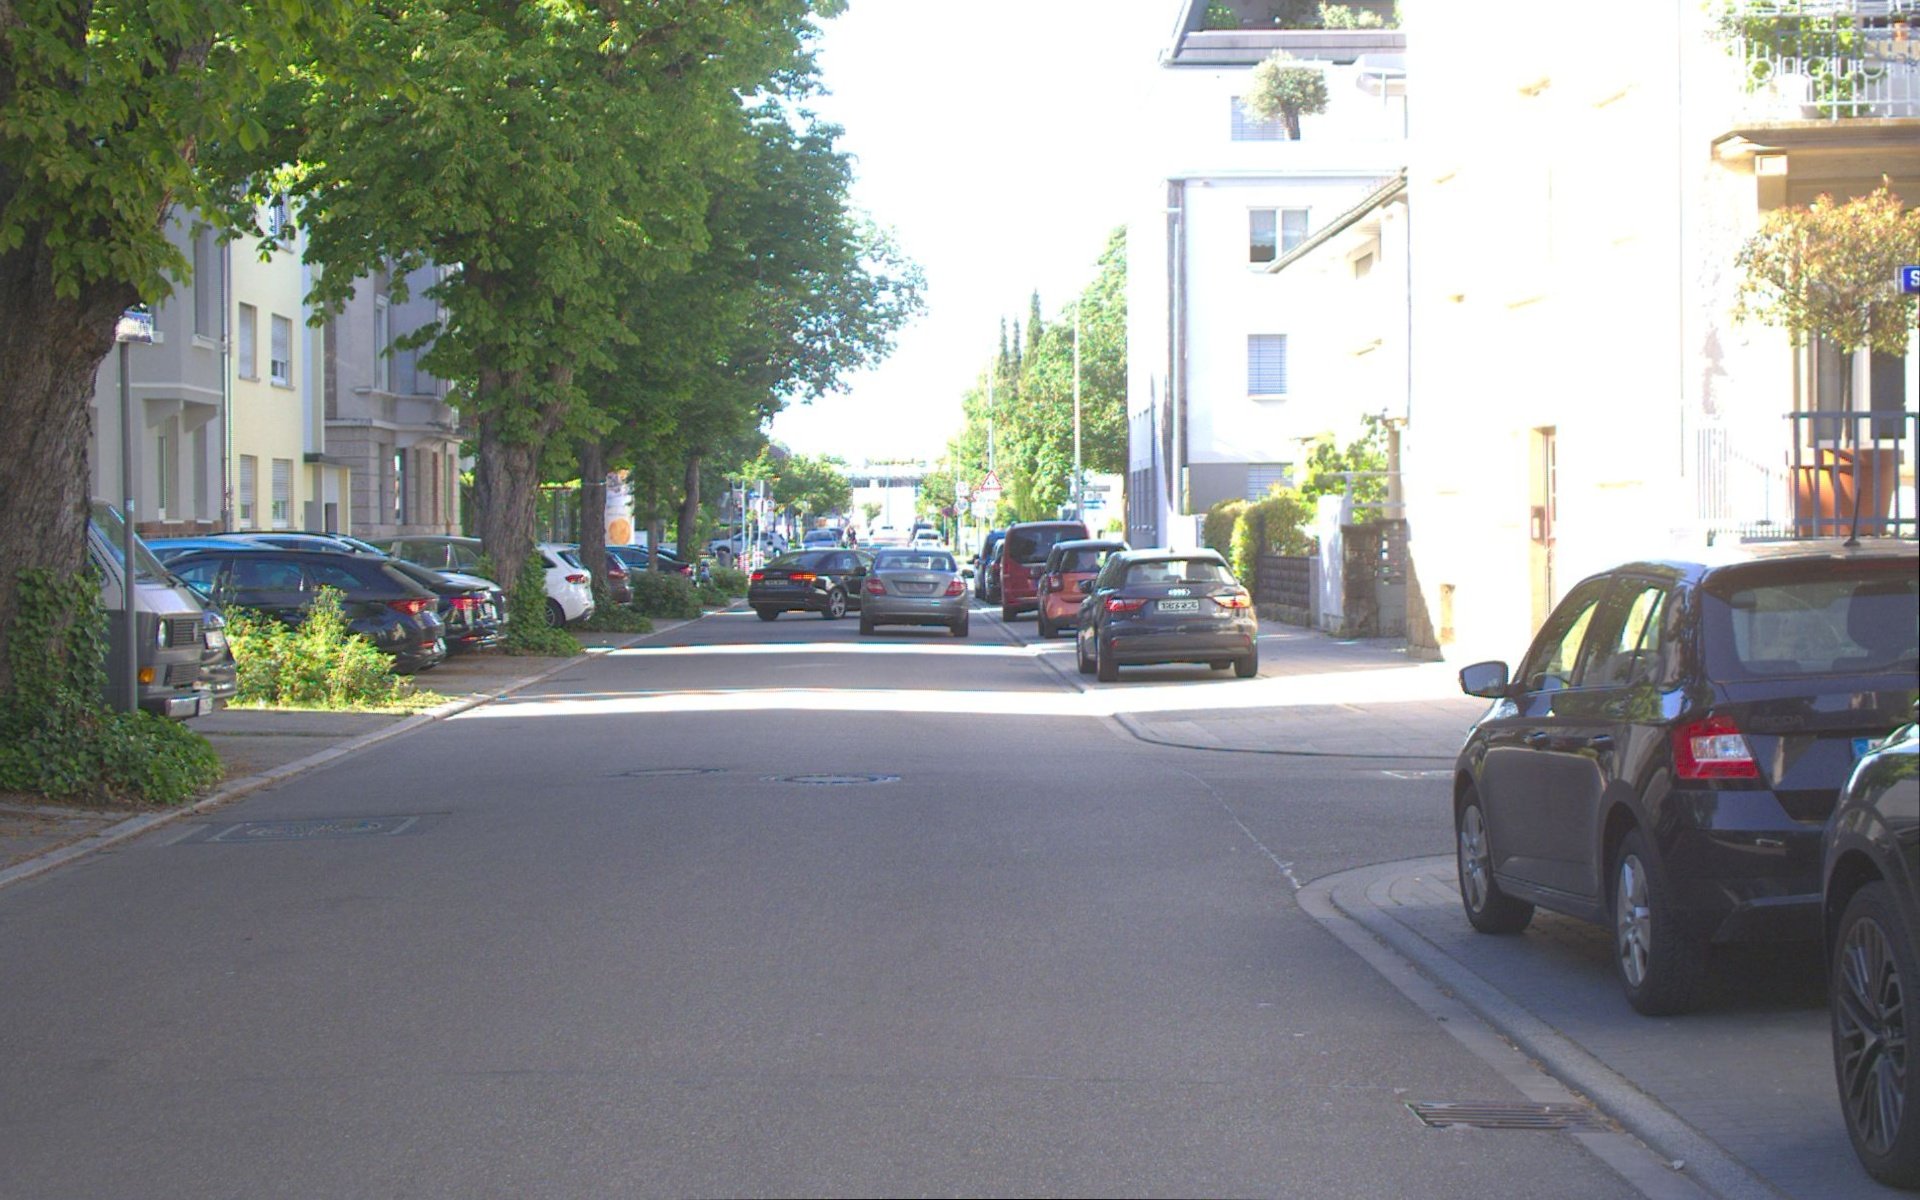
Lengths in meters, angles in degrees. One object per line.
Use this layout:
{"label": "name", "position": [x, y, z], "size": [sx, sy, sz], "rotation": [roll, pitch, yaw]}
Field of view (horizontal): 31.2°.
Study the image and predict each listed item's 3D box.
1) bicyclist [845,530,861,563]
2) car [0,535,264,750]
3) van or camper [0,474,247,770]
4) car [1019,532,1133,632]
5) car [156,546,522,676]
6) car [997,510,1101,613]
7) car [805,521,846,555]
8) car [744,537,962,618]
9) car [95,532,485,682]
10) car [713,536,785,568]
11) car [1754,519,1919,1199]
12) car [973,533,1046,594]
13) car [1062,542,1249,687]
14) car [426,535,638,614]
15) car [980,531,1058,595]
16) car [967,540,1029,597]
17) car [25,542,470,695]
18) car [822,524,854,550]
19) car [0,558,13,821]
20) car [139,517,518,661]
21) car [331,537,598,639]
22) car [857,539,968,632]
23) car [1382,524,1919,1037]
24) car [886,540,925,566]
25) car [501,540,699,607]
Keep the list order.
{"label": "bicyclist", "position": [-4.942, -2.460, 158.357], "size": [0.721, 1.531, 1.137], "rotation": [0, 1, -1]}
{"label": "car", "position": [-7.416, 0.272, 25.963], "size": [3.945, 1.493, 1.662], "rotation": [1, 2, 1]}
{"label": "van or camper", "position": [-7.239, 0.128, 23.131], "size": [4.497, 1.908, 1.964], "rotation": [0, 1, -1]}
{"label": "car", "position": [1.824, -0.305, 54.777], "size": [1.592, 1.475, 3.247], "rotation": [-2, 1, -1]}
{"label": "car", "position": [-7.224, 0.109, 40.255], "size": [3.986, 1.463, 1.697], "rotation": [0, 1, -1]}
{"label": "car", "position": [1.703, -0.734, 67.174], "size": [1.871, 1.898, 5.197], "rotation": [-1, 0, 0]}
{"label": "car", "position": [-6.898, -3.194, 176.355], "size": [1.872, 1.722, 4.001], "rotation": [0, 1, -5]}
{"label": "car", "position": [-2.089, -0.435, 67.841], "size": [4.191, 1.443, 1.711], "rotation": [2, 0, -44]}
{"label": "car", "position": [-7.349, 0.057, 38.027], "size": [3.986, 1.587, 1.878], "rotation": [0, 1, -2]}
{"label": "car", "position": [-10.514, -2.389, 171.190], "size": [3.493, 1.528, 1.645], "rotation": [0, 1, -7]}
{"label": "car", "position": [2.951, 0.565, 6.426], "size": [1.791, 1.515, 4.367], "rotation": [-1, 0, -1]}
{"label": "car", "position": [1.264, -0.928, 89.932], "size": [1.682, 1.430, 4.266], "rotation": [-4, 0, -1]}
{"label": "car", "position": [2.129, 0.120, 38.335], "size": [1.619, 1.435, 3.935], "rotation": [-3, 1, -3]}
{"label": "car", "position": [-8.423, -0.514, 67.853], "size": [3.986, 1.416, 1.771], "rotation": [1, 2, -2]}
{"label": "car", "position": [1.419, -0.921, 83.989], "size": [1.737, 1.526, 4.179], "rotation": [0, 1, -1]}
{"label": "car", "position": [1.029, -0.839, 94.129], "size": [1.564, 1.406, 3.729], "rotation": [-4, 0, 0]}
{"label": "car", "position": [-7.230, 0.172, 35.200], "size": [4.186, 1.493, 1.861], "rotation": [0, 1, -2]}
{"label": "car", "position": [-7.111, -3.674, 200.286], "size": [1.787, 1.527, 4.001], "rotation": [0, 1, -3]}
{"label": "car", "position": [-7.068, 0.455, 17.709], "size": [3.921, 1.410, 1.716], "rotation": [1, 1, -3]}
{"label": "car", "position": [-7.907, -0.154, 43.326], "size": [4.386, 1.646, 1.823], "rotation": [-1, 2, 0]}
{"label": "car", "position": [-7.930, -0.210, 55.257], "size": [4.022, 1.479, 1.807], "rotation": [2, 1, -1]}
{"label": "car", "position": [-0.754, -0.231, 56.548], "size": [1.726, 1.415, 3.960], "rotation": [2, 0, 0]}
{"label": "car", "position": [2.741, 0.531, 12.322], "size": [1.662, 1.515, 4.002], "rotation": [-1, 0, -4]}
{"label": "car", "position": [-2.856, -2.473, 178.840], "size": [1.722, 1.325, 4.001], "rotation": [0, 1, -5]}
{"label": "car", "position": [-8.408, -0.614, 80.549], "size": [4.473, 1.474, 1.869], "rotation": [1, 0, -2]}
